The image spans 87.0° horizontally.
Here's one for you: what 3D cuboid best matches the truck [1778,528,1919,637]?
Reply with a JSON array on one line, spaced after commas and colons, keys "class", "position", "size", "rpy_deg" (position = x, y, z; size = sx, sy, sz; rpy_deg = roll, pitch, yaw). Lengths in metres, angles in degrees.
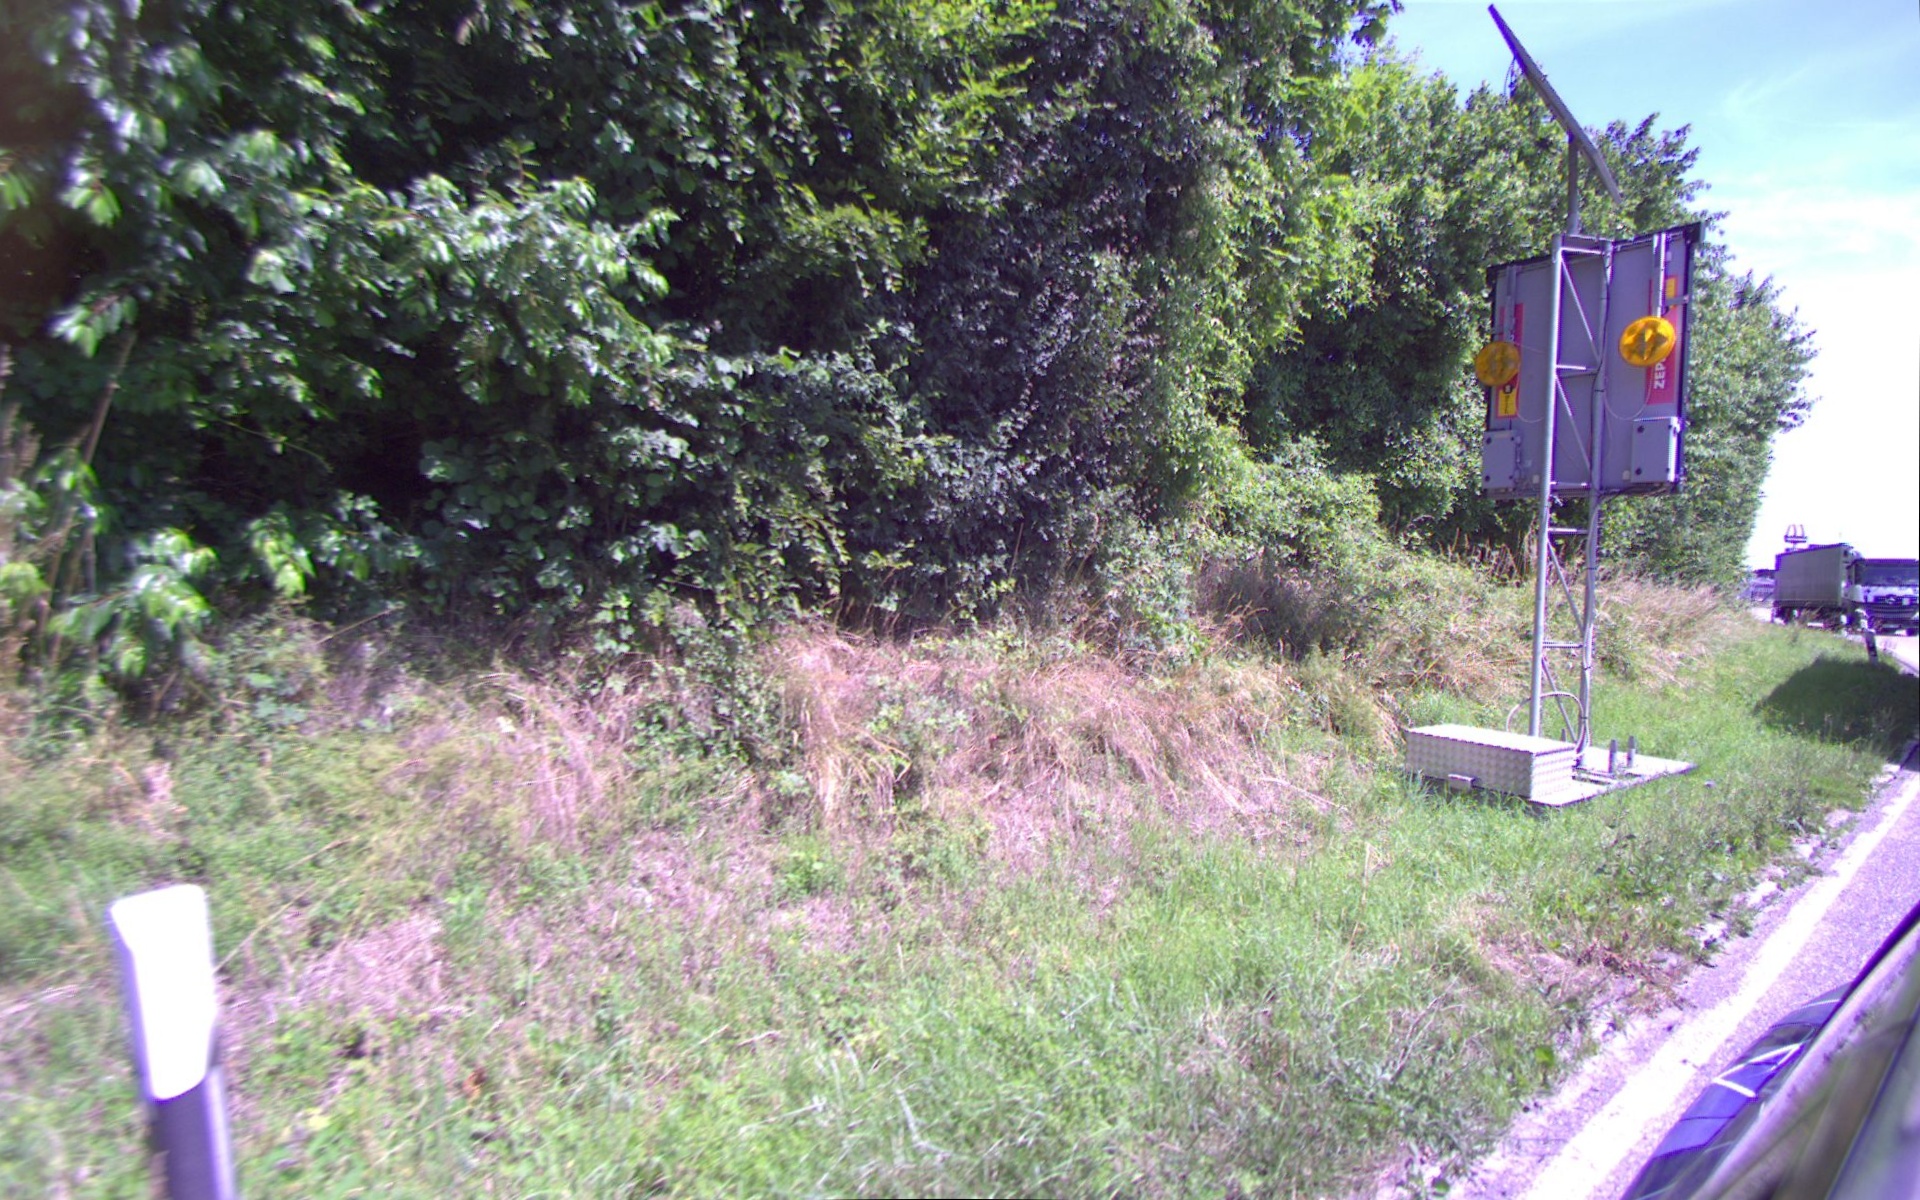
[{"class": "truck", "position": [43.599, -0.930, 49.348], "size": [2.957, 4.527, 16.286], "rpy_deg": [0, 1, 29]}]
